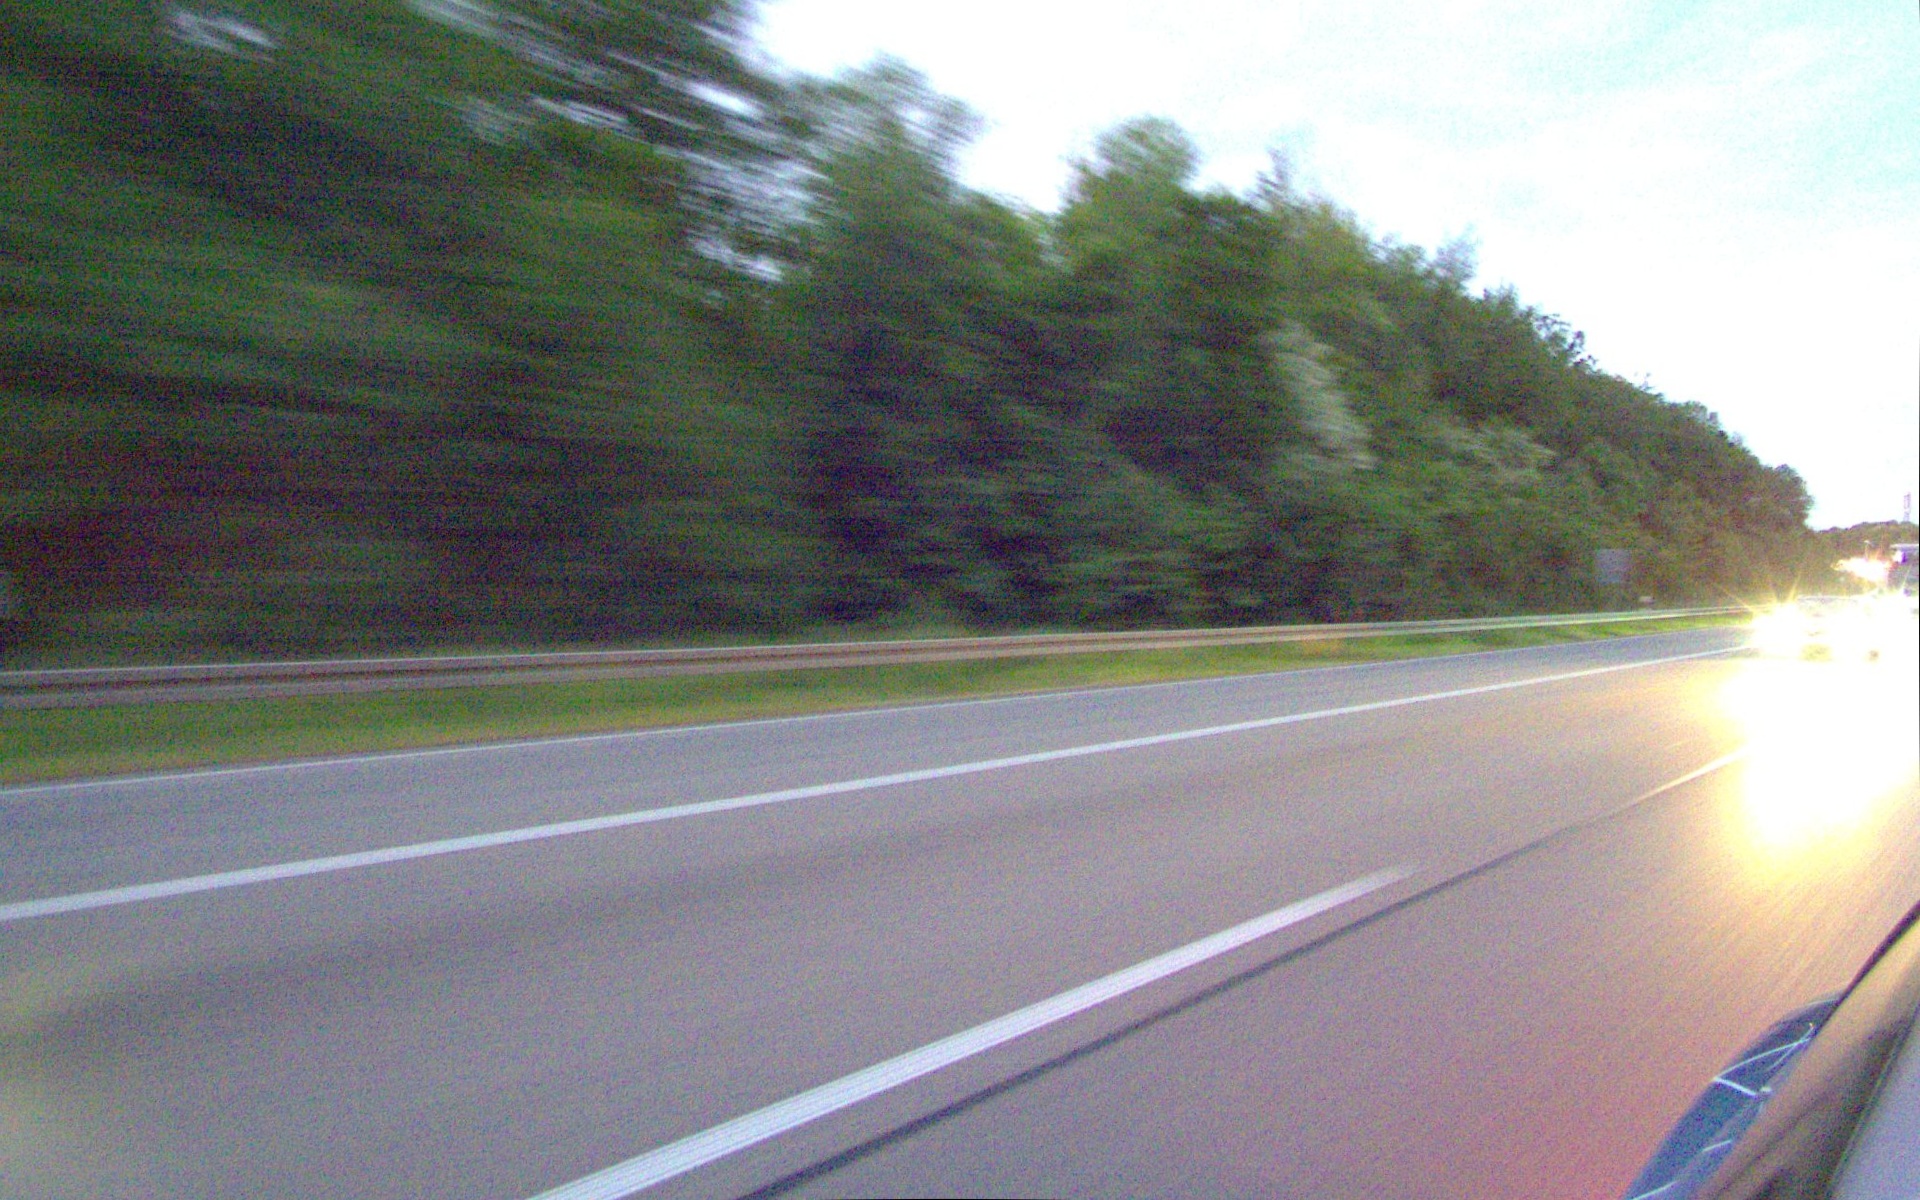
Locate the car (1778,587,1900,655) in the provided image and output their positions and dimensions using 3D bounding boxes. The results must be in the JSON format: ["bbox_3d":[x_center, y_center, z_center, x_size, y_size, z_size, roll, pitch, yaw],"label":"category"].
[{"bbox_3d":[21.335,0.458,24.501,4.865,1.509,1.693,0,0,-43],"label":"car"}]

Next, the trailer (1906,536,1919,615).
[{"bbox_3d":[55.765,-1.498,57.216,13.281,4.123,2.485,-2,2,-43],"label":"trailer"}]

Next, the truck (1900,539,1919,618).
[{"bbox_3d":[50.674,-1.168,52.454,5.498,4.017,2.494,-2,2,-43],"label":"truck"}]
